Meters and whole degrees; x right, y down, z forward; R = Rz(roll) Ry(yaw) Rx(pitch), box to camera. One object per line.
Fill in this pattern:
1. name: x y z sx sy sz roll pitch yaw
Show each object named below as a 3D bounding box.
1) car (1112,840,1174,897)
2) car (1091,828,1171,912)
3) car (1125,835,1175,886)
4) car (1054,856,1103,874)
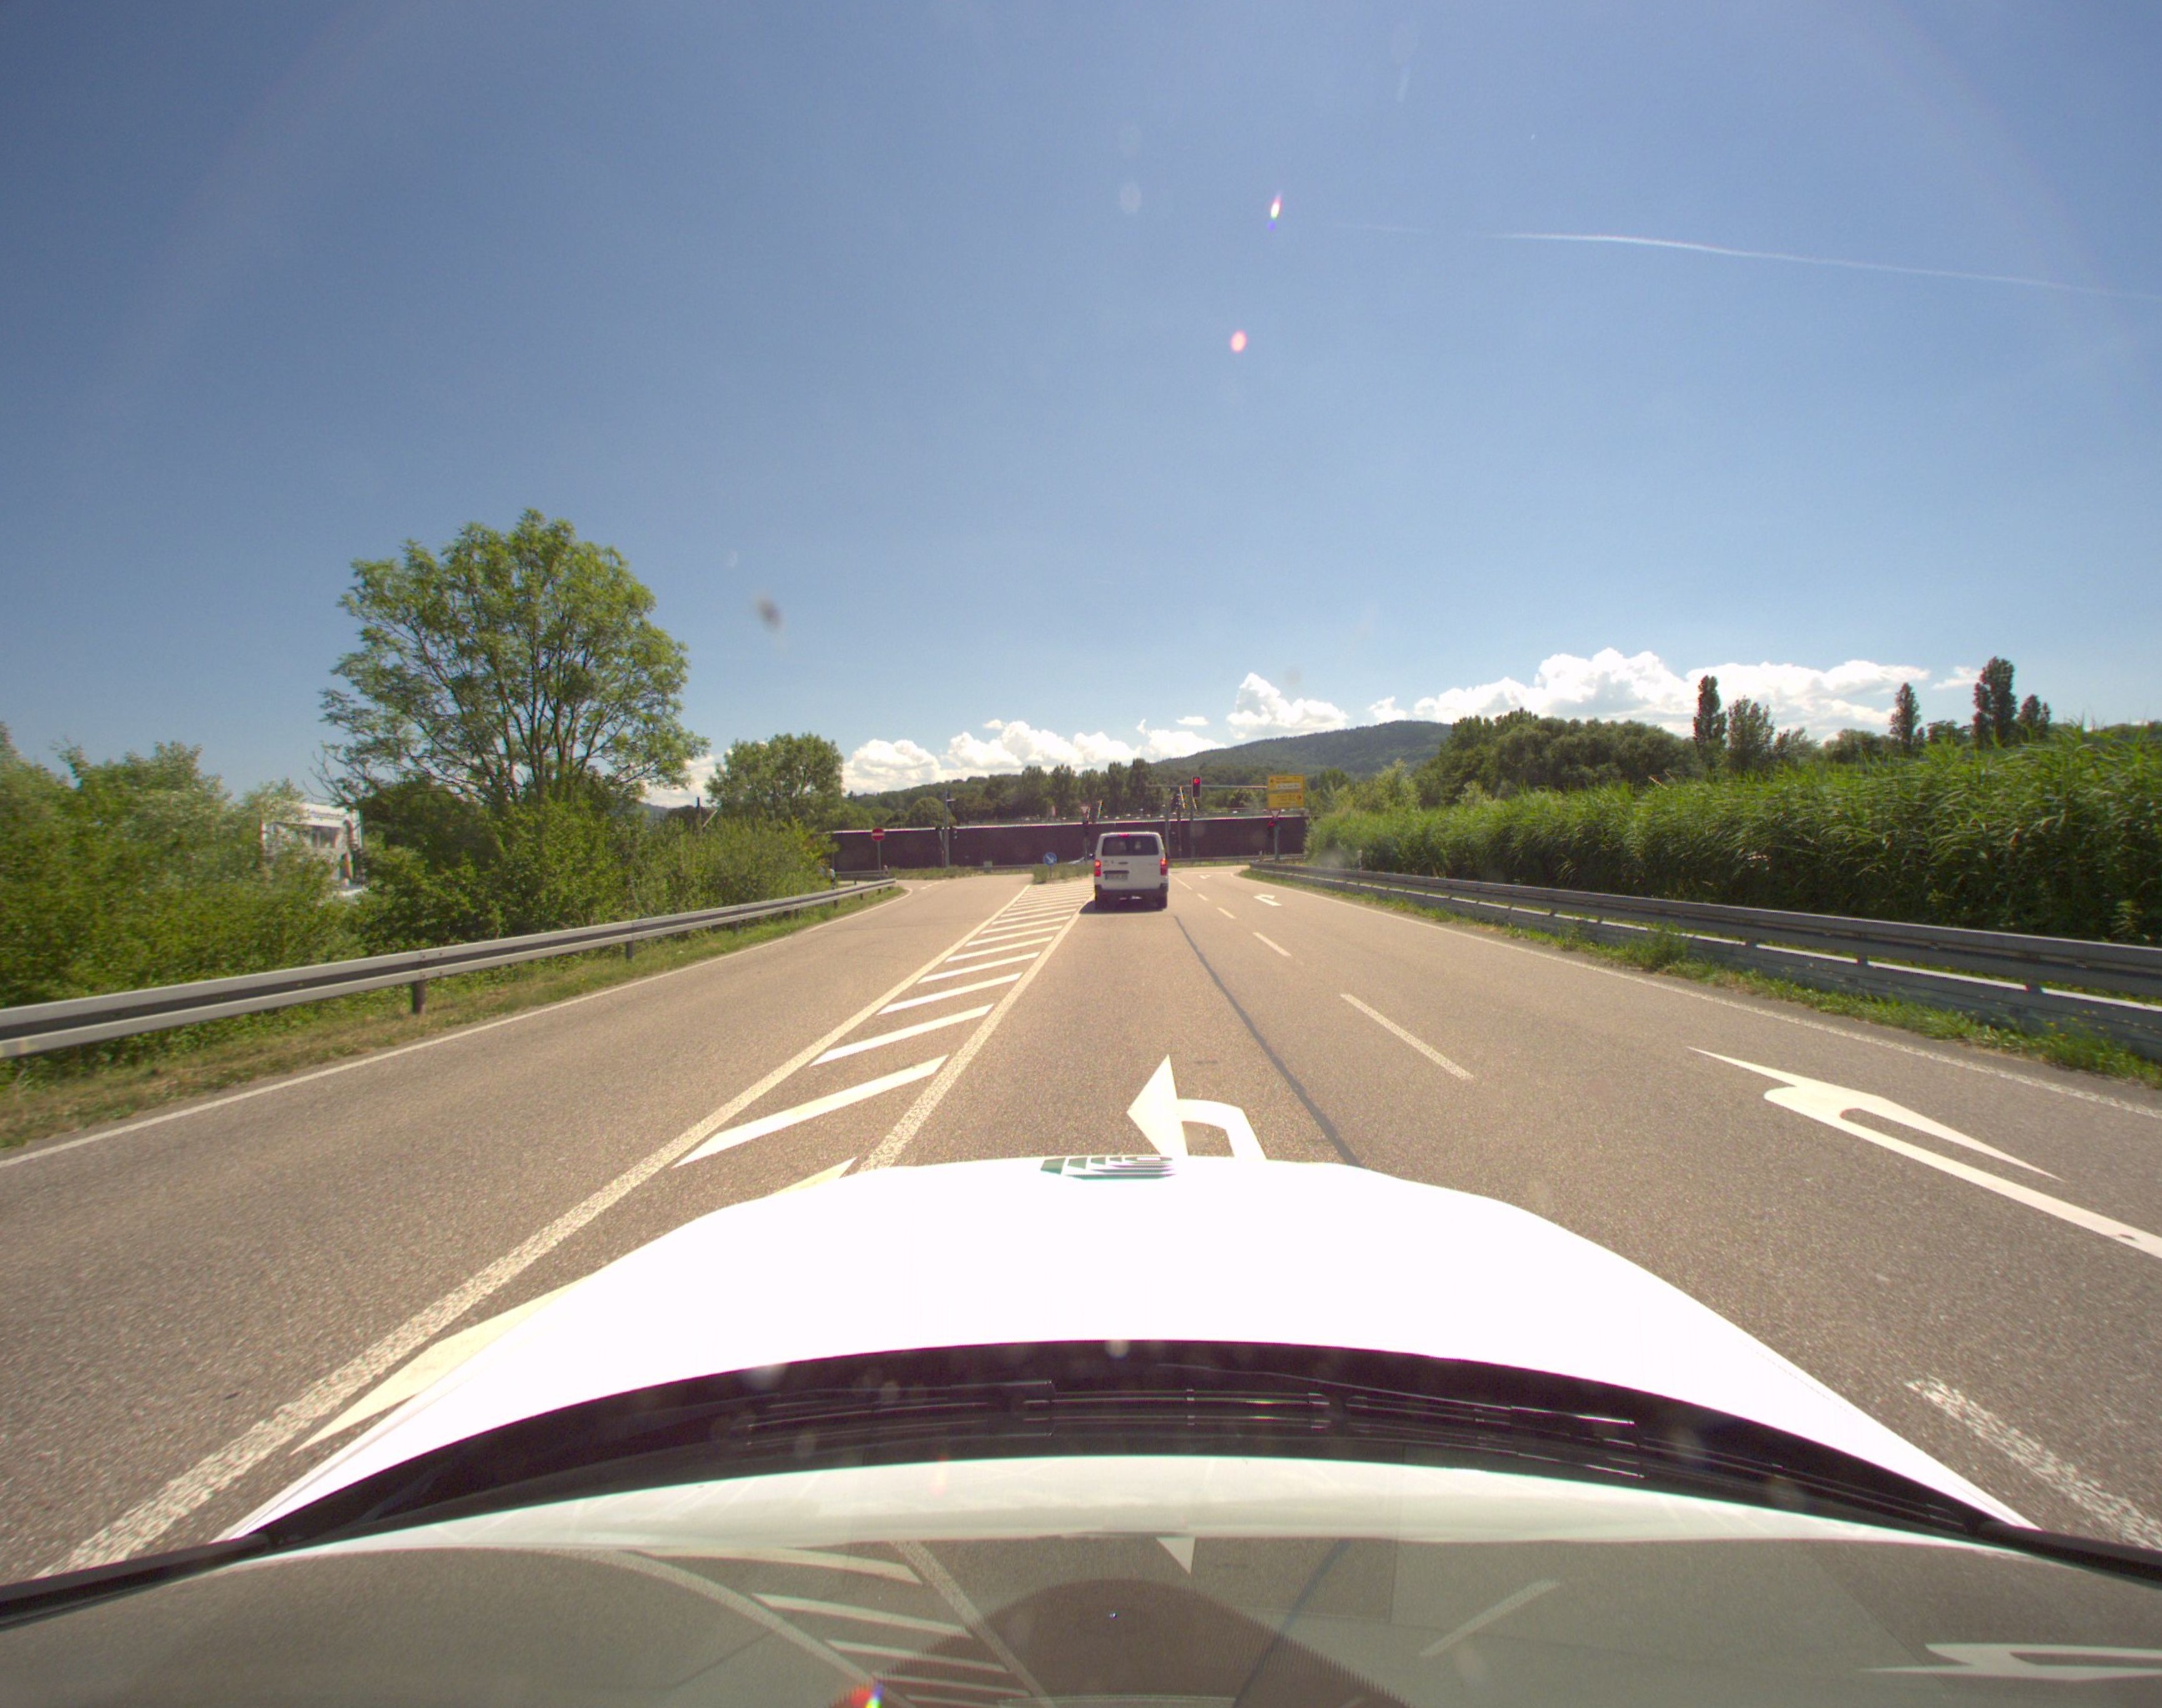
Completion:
1. car: 2.216 0.495 29.361 1.985 1.812 4.004 -3 0 4
2. car: 1.318 0.375 21.532 1.862 1.964 4.004 -1 0 3
3. car: 3.032 0.264 36.128 1.985 2.013 4.004 -3 0 4
4. car: -0.169 0.929 68.809 3.971 1.349 1.850 -1 2 2
